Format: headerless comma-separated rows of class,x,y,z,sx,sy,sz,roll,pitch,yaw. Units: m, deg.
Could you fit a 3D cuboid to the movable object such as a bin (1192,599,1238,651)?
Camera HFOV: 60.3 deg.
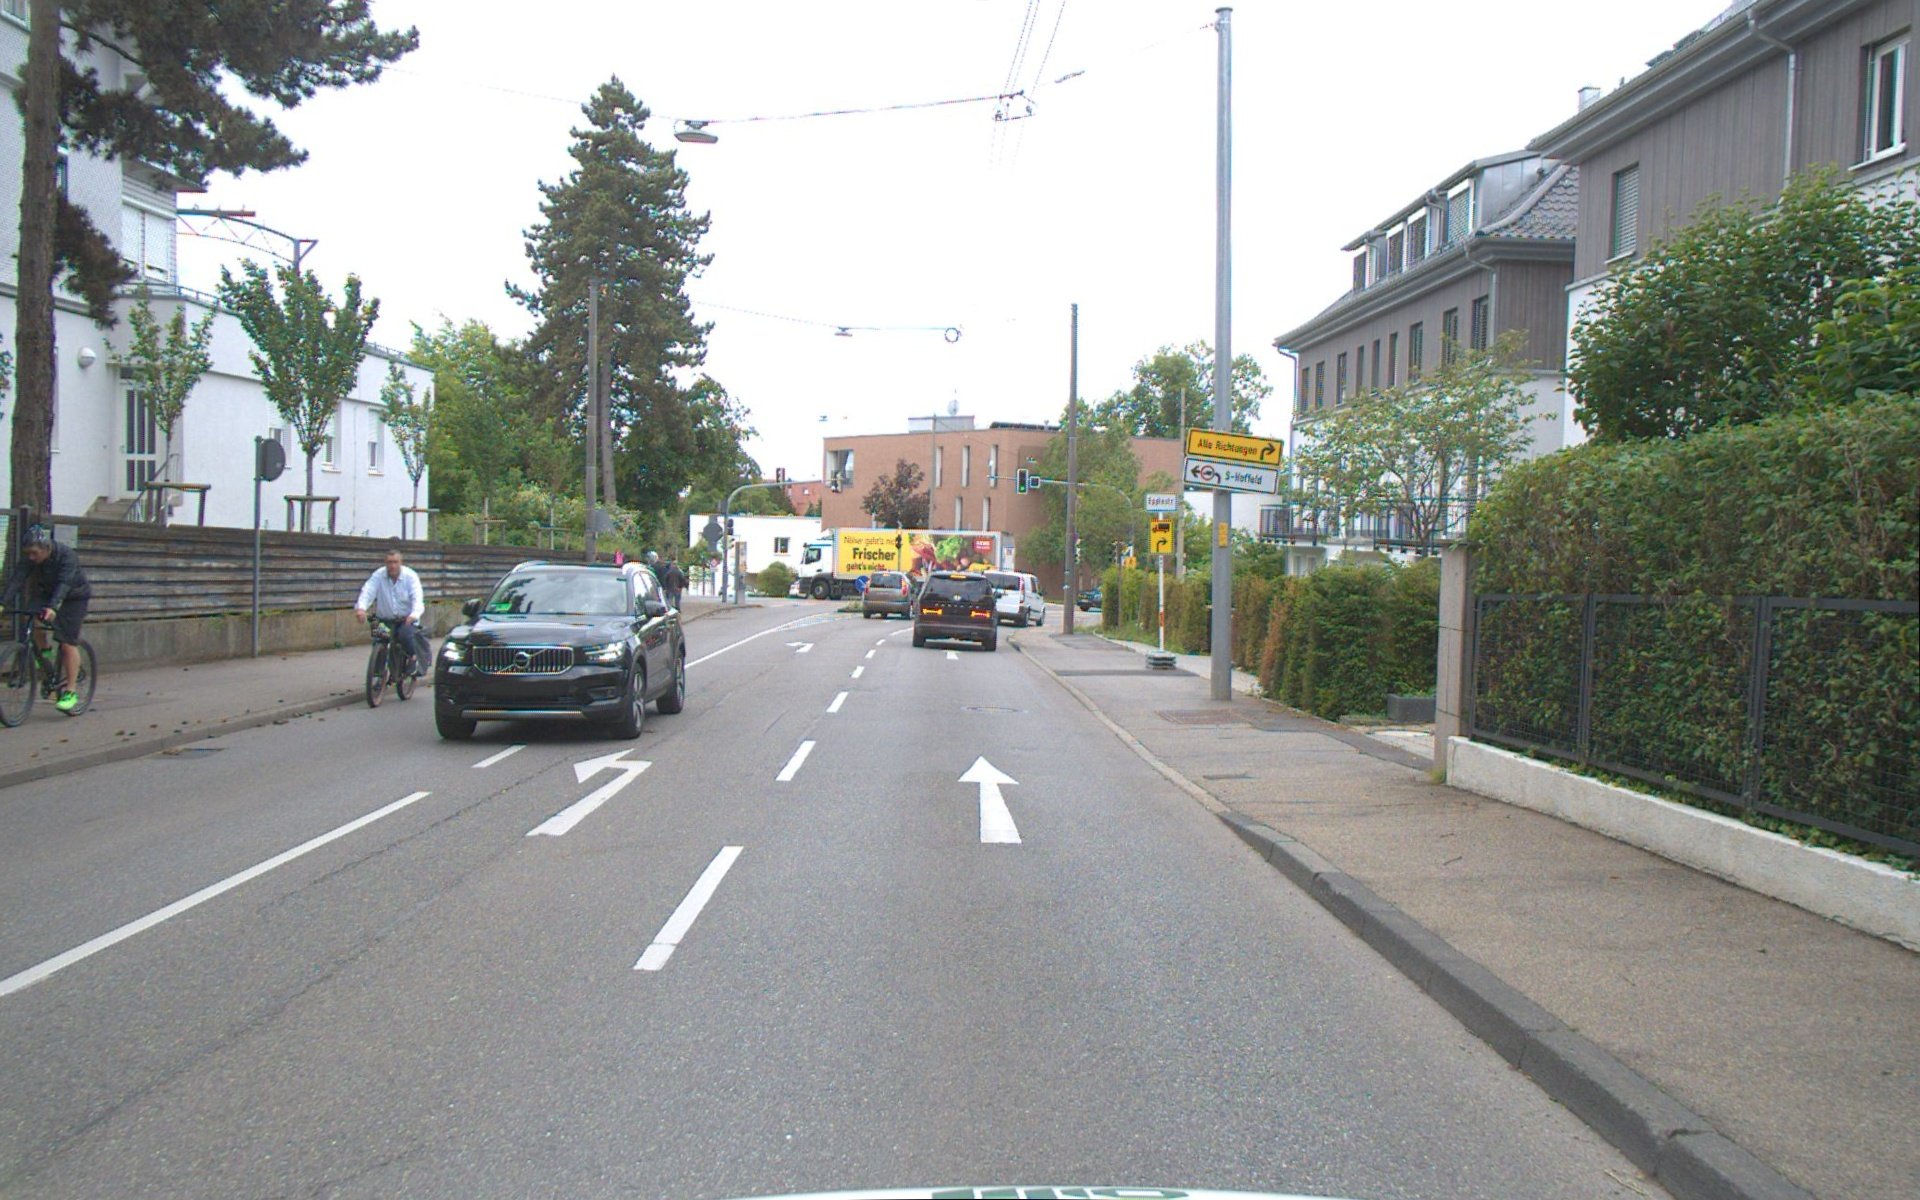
movable object such as a bin,5.669,0.560,36.792,0.709,1.092,0.673,4,0,-38

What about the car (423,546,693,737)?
car,-3.839,0.333,16.523,1.795,1.659,4.281,0,1,-2

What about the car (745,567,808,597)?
car,-13.051,-1.288,117.704,3.943,2.048,1.981,1,1,-29

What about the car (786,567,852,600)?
car,-9.447,-1.086,110.755,3.944,2.048,1.981,1,1,-30

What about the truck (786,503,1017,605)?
truck,-3.027,-2.407,86.450,11.506,4.817,3.138,2,1,13

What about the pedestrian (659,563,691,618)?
pedestrian,-9.344,-0.314,54.224,0.683,1.764,0.747,3,1,43

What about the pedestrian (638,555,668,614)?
pedestrian,-9.884,-0.490,53.235,0.742,1.869,0.608,2,1,-30

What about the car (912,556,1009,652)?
car,-0.024,0.044,37.712,1.954,1.914,4.000,5,1,-1

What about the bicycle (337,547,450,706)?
bicycle,-6.604,0.280,19.379,0.743,1.775,1.871,0,1,-2

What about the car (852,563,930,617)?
car,-2.365,-0.352,57.746,1.853,1.735,4.004,2,1,10

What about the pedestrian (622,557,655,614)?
pedestrian,-10.276,-0.471,52.851,0.804,1.794,0.861,2,1,-24

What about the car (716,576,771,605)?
car,-16.725,-0.731,127.763,3.924,2.048,1.991,2,1,-18

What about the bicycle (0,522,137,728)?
bicycle,-8.081,0.186,14.692,0.550,1.705,1.980,2,1,-2

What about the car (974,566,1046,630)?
car,1.862,-0.121,60.212,1.920,2.048,4.432,5,2,9
